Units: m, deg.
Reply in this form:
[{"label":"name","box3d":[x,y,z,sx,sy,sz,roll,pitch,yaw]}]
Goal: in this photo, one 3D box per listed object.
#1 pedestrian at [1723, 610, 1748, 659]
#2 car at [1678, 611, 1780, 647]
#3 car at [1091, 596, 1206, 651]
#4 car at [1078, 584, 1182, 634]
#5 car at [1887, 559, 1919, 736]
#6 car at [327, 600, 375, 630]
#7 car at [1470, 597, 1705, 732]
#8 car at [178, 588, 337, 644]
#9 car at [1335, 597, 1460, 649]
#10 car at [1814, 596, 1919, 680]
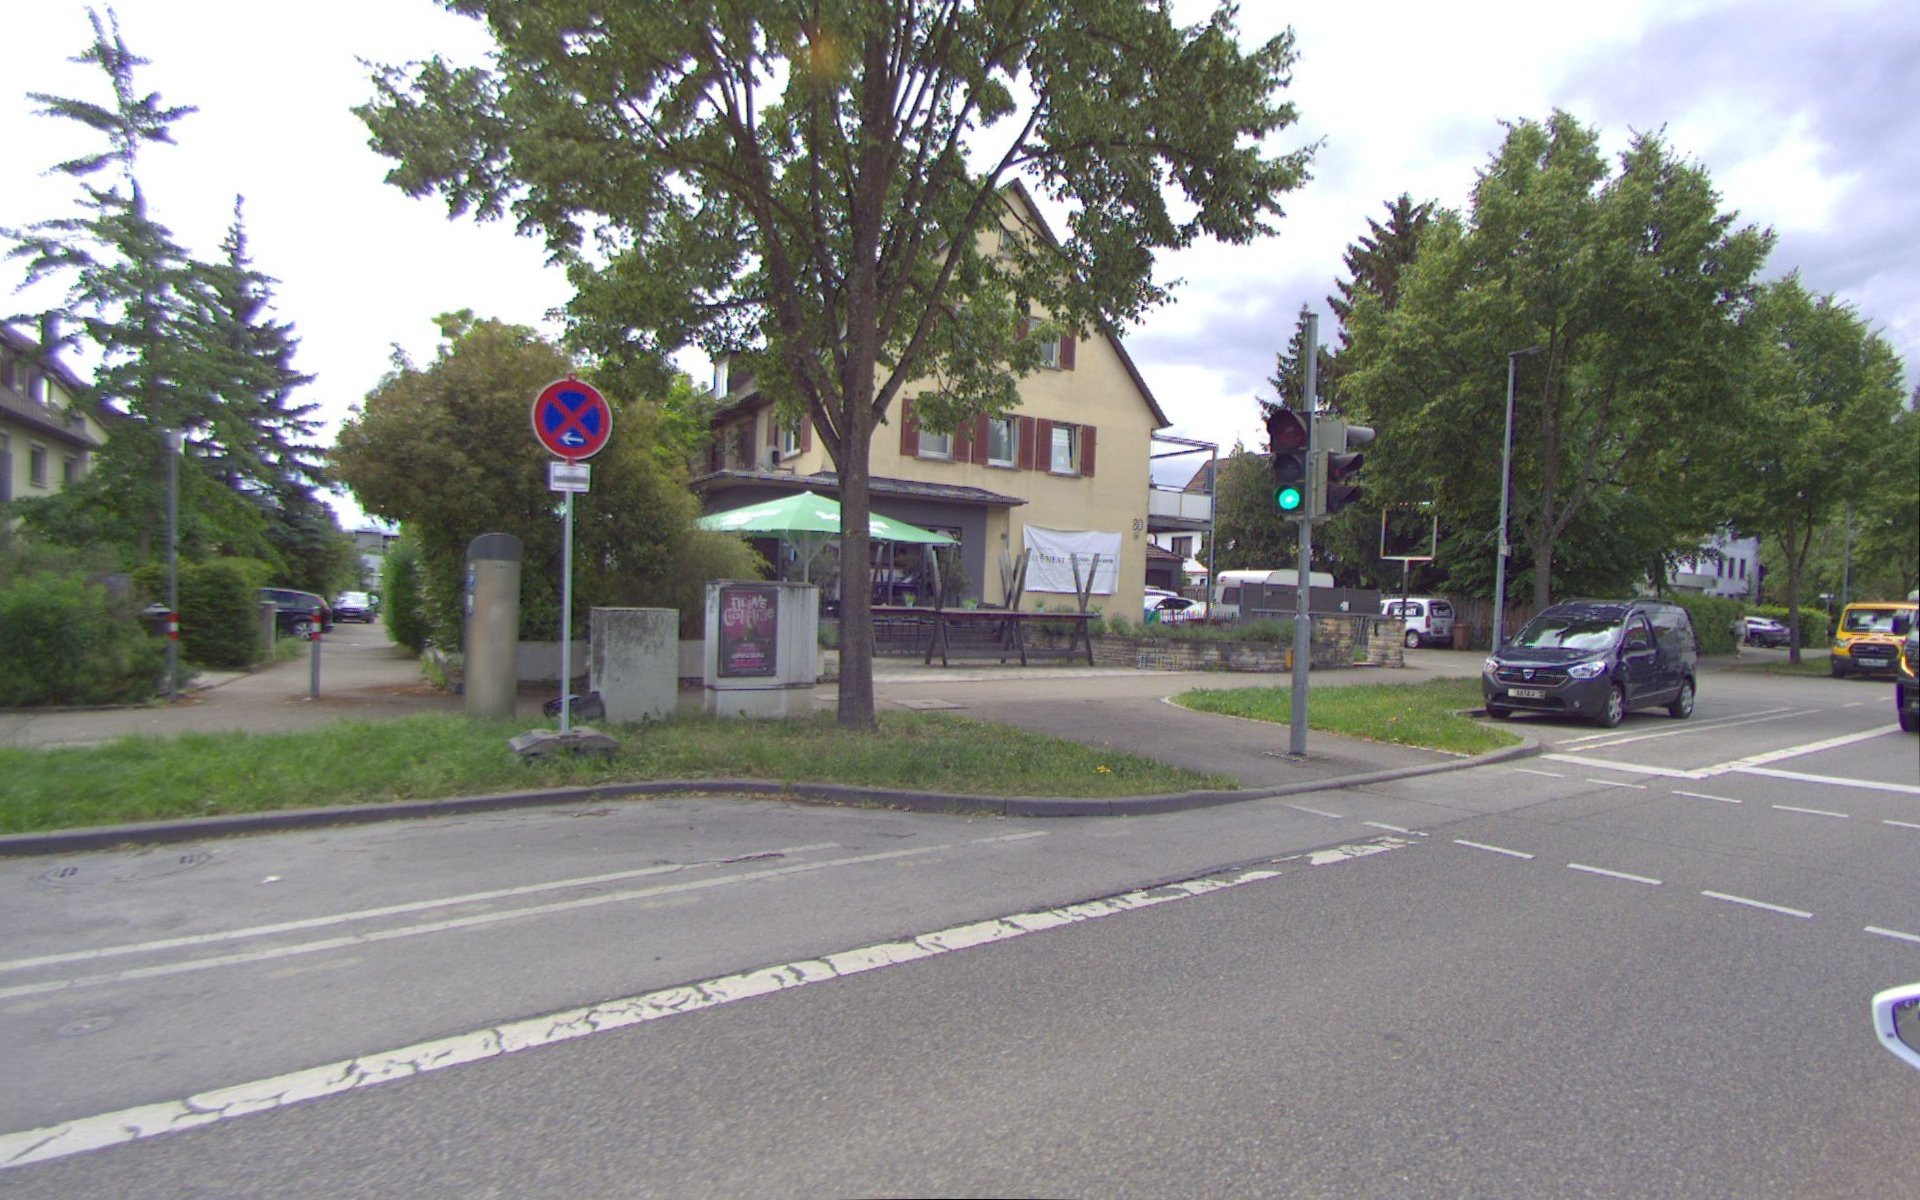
[{"label":"pedestrian","box3d":[28.580,1.262,37.009,0.569,1.765,0.590,1,0,-38]},{"label":"car","box3d":[37.634,1.392,49.231,1.663,1.615,3.655,1,0,-37]},{"label":"car","box3d":[6.653,0.833,35.442,3.728,1.793,1.588,2,0,-25]},{"label":"car","box3d":[6.588,0.354,38.851,3.728,1.793,1.588,2,0,-25]},{"label":"car","box3d":[15.634,0.701,14.852,5.214,2.416,2.014,1,-1,-38]},{"label":"car","box3d":[-32.853,0.773,54.181,1.773,1.545,3.956,1,0,-38]},{"label":"car","box3d":[9.724,0.905,15.430,4.427,1.795,1.655,1,-1,-38]},{"label":"car","box3d":[-22.132,0.503,31.824,3.953,1.669,1.774,1,0,-30]},{"label":"car","box3d":[16.093,0.810,37.147,1.725,1.793,3.968,2,0,-30]},{"label":"car","box3d":[26.580,1.051,28.912,5.000,2.204,2.076,1,0,-38]}]
